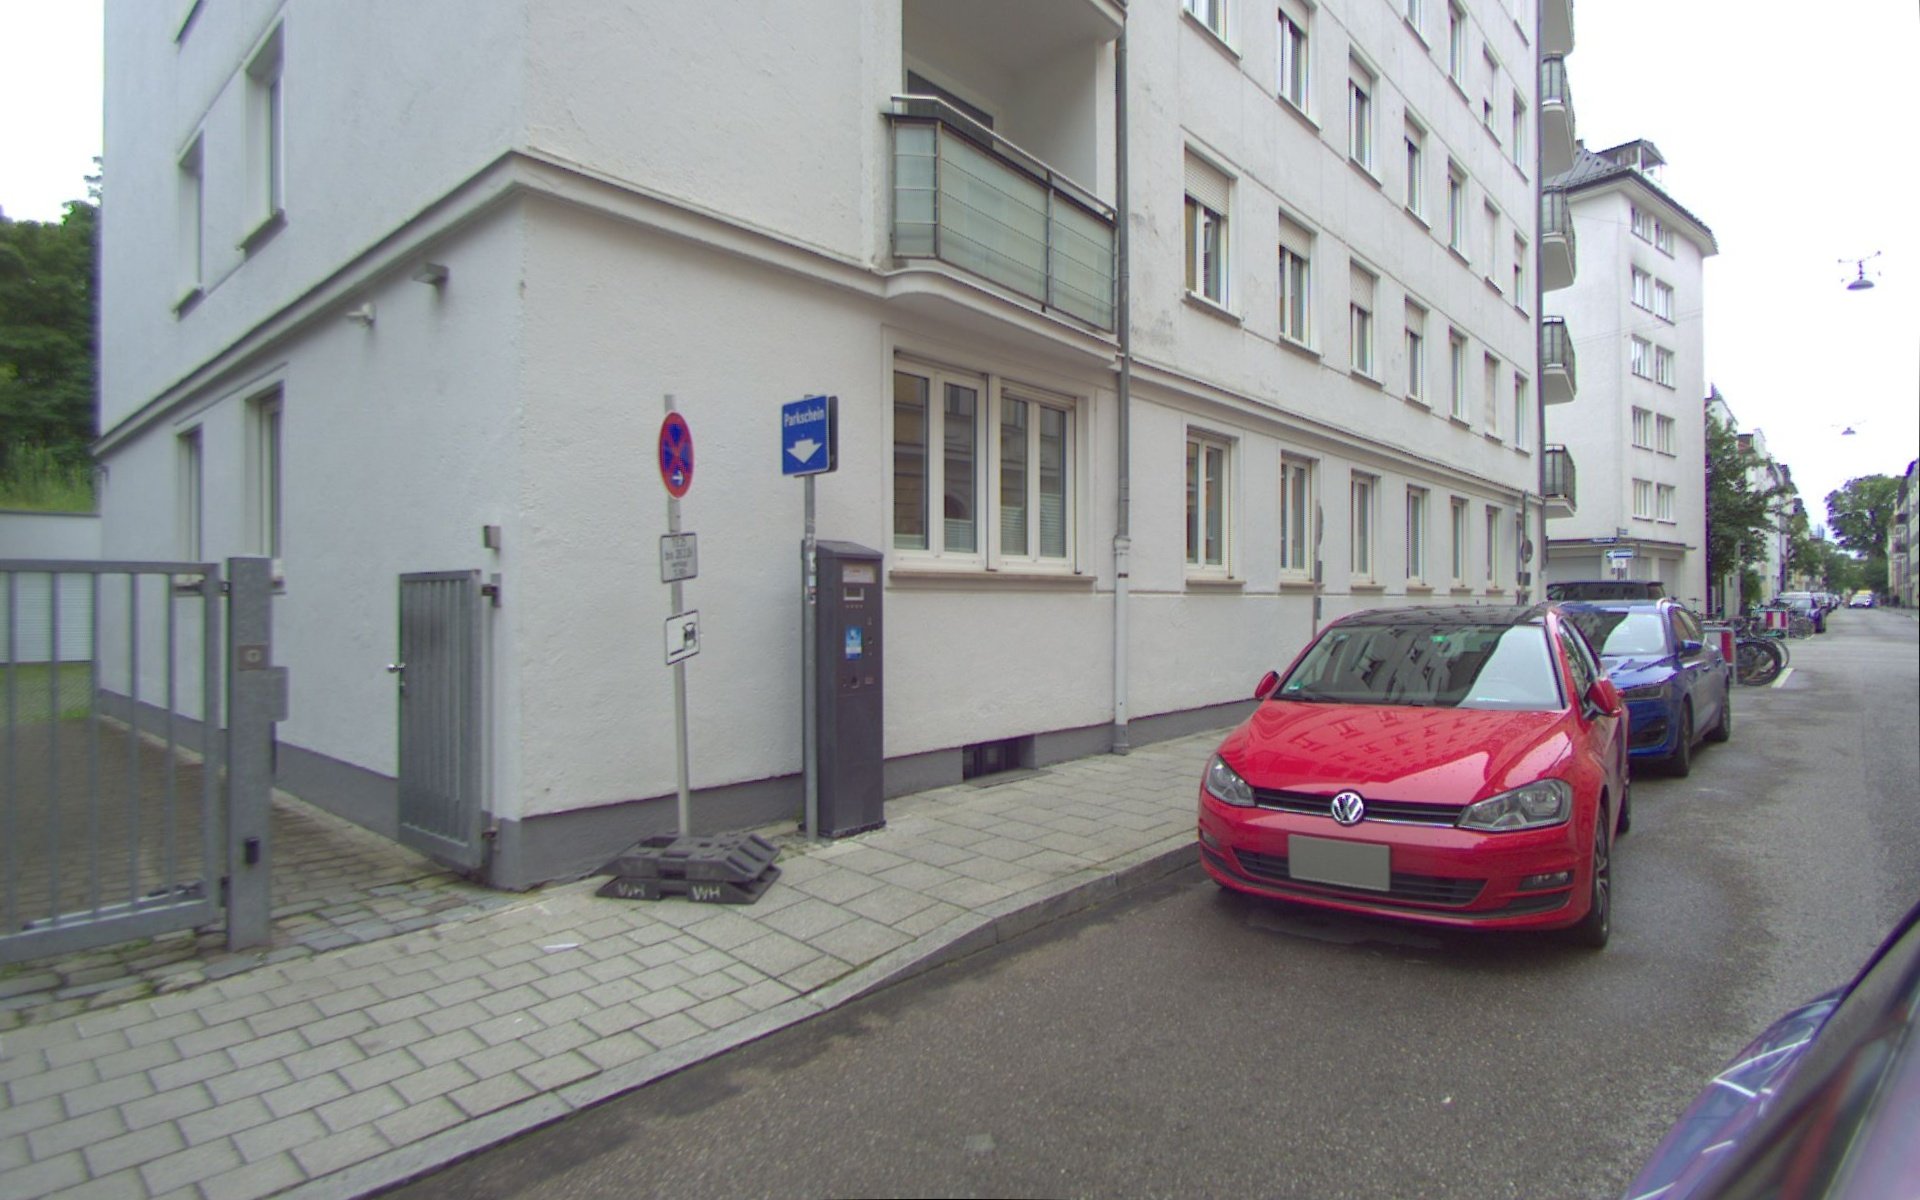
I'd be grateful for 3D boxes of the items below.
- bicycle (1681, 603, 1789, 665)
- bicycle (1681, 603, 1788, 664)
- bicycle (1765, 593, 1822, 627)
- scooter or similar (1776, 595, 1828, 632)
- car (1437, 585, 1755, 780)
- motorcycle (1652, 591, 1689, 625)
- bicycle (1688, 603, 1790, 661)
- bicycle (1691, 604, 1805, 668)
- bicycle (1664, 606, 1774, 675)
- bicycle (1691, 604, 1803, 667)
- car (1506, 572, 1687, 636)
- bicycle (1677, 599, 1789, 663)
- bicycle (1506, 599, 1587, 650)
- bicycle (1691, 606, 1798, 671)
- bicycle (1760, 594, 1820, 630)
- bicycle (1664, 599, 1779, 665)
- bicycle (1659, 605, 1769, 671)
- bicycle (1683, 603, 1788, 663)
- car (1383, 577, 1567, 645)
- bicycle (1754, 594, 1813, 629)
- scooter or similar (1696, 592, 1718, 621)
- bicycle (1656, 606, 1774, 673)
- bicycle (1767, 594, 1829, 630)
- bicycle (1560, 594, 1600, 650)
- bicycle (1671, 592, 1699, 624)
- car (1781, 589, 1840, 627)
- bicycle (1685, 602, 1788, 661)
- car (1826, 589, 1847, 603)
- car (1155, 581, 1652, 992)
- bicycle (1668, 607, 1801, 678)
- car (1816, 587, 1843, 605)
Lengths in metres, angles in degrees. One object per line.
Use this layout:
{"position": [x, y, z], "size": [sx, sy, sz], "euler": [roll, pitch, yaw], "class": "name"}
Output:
{"position": [15.481, 0.661, 20.237], "size": [1.694, 1.175, 0.373], "euler": [0, 0, 42], "class": "bicycle"}
{"position": [15.713, 0.655, 20.556], "size": [1.694, 1.175, 0.373], "euler": [0, 0, 42], "class": "bicycle"}
{"position": [31.272, 0.370, 37.977], "size": [0.520, 1.229, 1.605], "euler": [0, 0, -45], "class": "bicycle"}
{"position": [28.312, 0.434, 34.036], "size": [0.339, 1.229, 1.338], "euler": [0, 0, -45], "class": "scooter or similar"}
{"position": [6.302, 0.626, 9.790], "size": [1.794, 1.457, 4.315], "euler": [-2, -1, 43], "class": "car"}
{"position": [26.698, 0.270, 38.019], "size": [1.902, 1.248, 0.660], "euler": [0, 0, -40], "class": "motorcycle"}
{"position": [16.430, 0.648, 21.374], "size": [1.694, 1.175, 0.412], "euler": [0, 0, 42], "class": "bicycle"}
{"position": [15.037, 0.668, 19.344], "size": [1.694, 1.175, 0.373], "euler": [0, 0, 42], "class": "bicycle"}
{"position": [12.974, 0.671, 17.336], "size": [0.324, 1.056, 1.439], "euler": [0, 2, -39], "class": "bicycle"}
{"position": [15.268, 0.663, 19.665], "size": [1.694, 1.175, 0.373], "euler": [0, 0, 42], "class": "bicycle"}
{"position": [20.711, 0.106, 33.081], "size": [1.899, 1.915, 4.677], "euler": [1, 0, -39], "class": "car"}
{"position": [14.582, 0.562, 19.128], "size": [1.661, 1.175, 0.373], "euler": [0, 0, 42], "class": "bicycle"}
{"position": [12.974, 0.527, 22.409], "size": [1.485, 1.056, 0.396], "euler": [2, 2, 25], "class": "bicycle"}
{"position": [13.984, 0.667, 18.077], "size": [0.353, 1.056, 1.442], "euler": [0, 2, -39], "class": "bicycle"}
{"position": [29.332, 0.407, 35.774], "size": [0.520, 1.229, 1.605], "euler": [0, 0, -45], "class": "bicycle"}
{"position": [14.208, 0.571, 18.922], "size": [1.694, 1.175, 0.373], "euler": [0, 0, 42], "class": "bicycle"}
{"position": [13.465, 0.658, 18.106], "size": [0.353, 1.056, 1.521], "euler": [0, 2, -39], "class": "bicycle"}
{"position": [15.948, 0.657, 20.833], "size": [1.694, 1.175, 0.309], "euler": [0, 0, 42], "class": "bicycle"}
{"position": [15.535, 0.282, 30.730], "size": [1.899, 1.896, 4.616], "euler": [0, 0, -39], "class": "car"}
{"position": [29.551, 0.398, 36.327], "size": [0.520, 1.229, 1.605], "euler": [0, 0, -45], "class": "bicycle"}
{"position": [30.528, 0.265, 41.344], "size": [1.467, 1.181, 0.406], "euler": [0, 0, -40], "class": "scooter or similar"}
{"position": [13.147, 0.667, 17.661], "size": [0.317, 1.056, 1.591], "euler": [0, 2, -39], "class": "bicycle"}
{"position": [29.129, 0.416, 35.194], "size": [0.520, 1.229, 1.605], "euler": [0, 0, -45], "class": "bicycle"}
{"position": [14.415, 0.482, 23.555], "size": [0.394, 1.219, 1.498], "euler": [2, 2, 17], "class": "bicycle"}
{"position": [28.218, 0.308, 39.383], "size": [1.581, 1.229, 0.528], "euler": [0, 0, -40], "class": "bicycle"}
{"position": [33.449, 0.278, 39.781], "size": [1.648, 1.416, 3.939], "euler": [0, 1, 42], "class": "car"}
{"position": [16.157, 0.634, 21.082], "size": [1.694, 1.175, 0.309], "euler": [0, 0, 42], "class": "bicycle"}
{"position": [94.119, -0.442, 108.656], "size": [1.648, 1.416, 3.939], "euler": [0, 1, 42], "class": "car"}
{"position": [2.862, 0.680, 5.872], "size": [1.755, 1.465, 4.243], "euler": [-2, -1, 36], "class": "car"}
{"position": [12.850, 0.681, 16.823], "size": [1.703, 1.056, 0.354], "euler": [3, 2, 43], "class": "bicycle"}
{"position": [71.463, -0.360, 83.153], "size": [1.648, 1.416, 3.939], "euler": [0, 1, 42], "class": "car"}
